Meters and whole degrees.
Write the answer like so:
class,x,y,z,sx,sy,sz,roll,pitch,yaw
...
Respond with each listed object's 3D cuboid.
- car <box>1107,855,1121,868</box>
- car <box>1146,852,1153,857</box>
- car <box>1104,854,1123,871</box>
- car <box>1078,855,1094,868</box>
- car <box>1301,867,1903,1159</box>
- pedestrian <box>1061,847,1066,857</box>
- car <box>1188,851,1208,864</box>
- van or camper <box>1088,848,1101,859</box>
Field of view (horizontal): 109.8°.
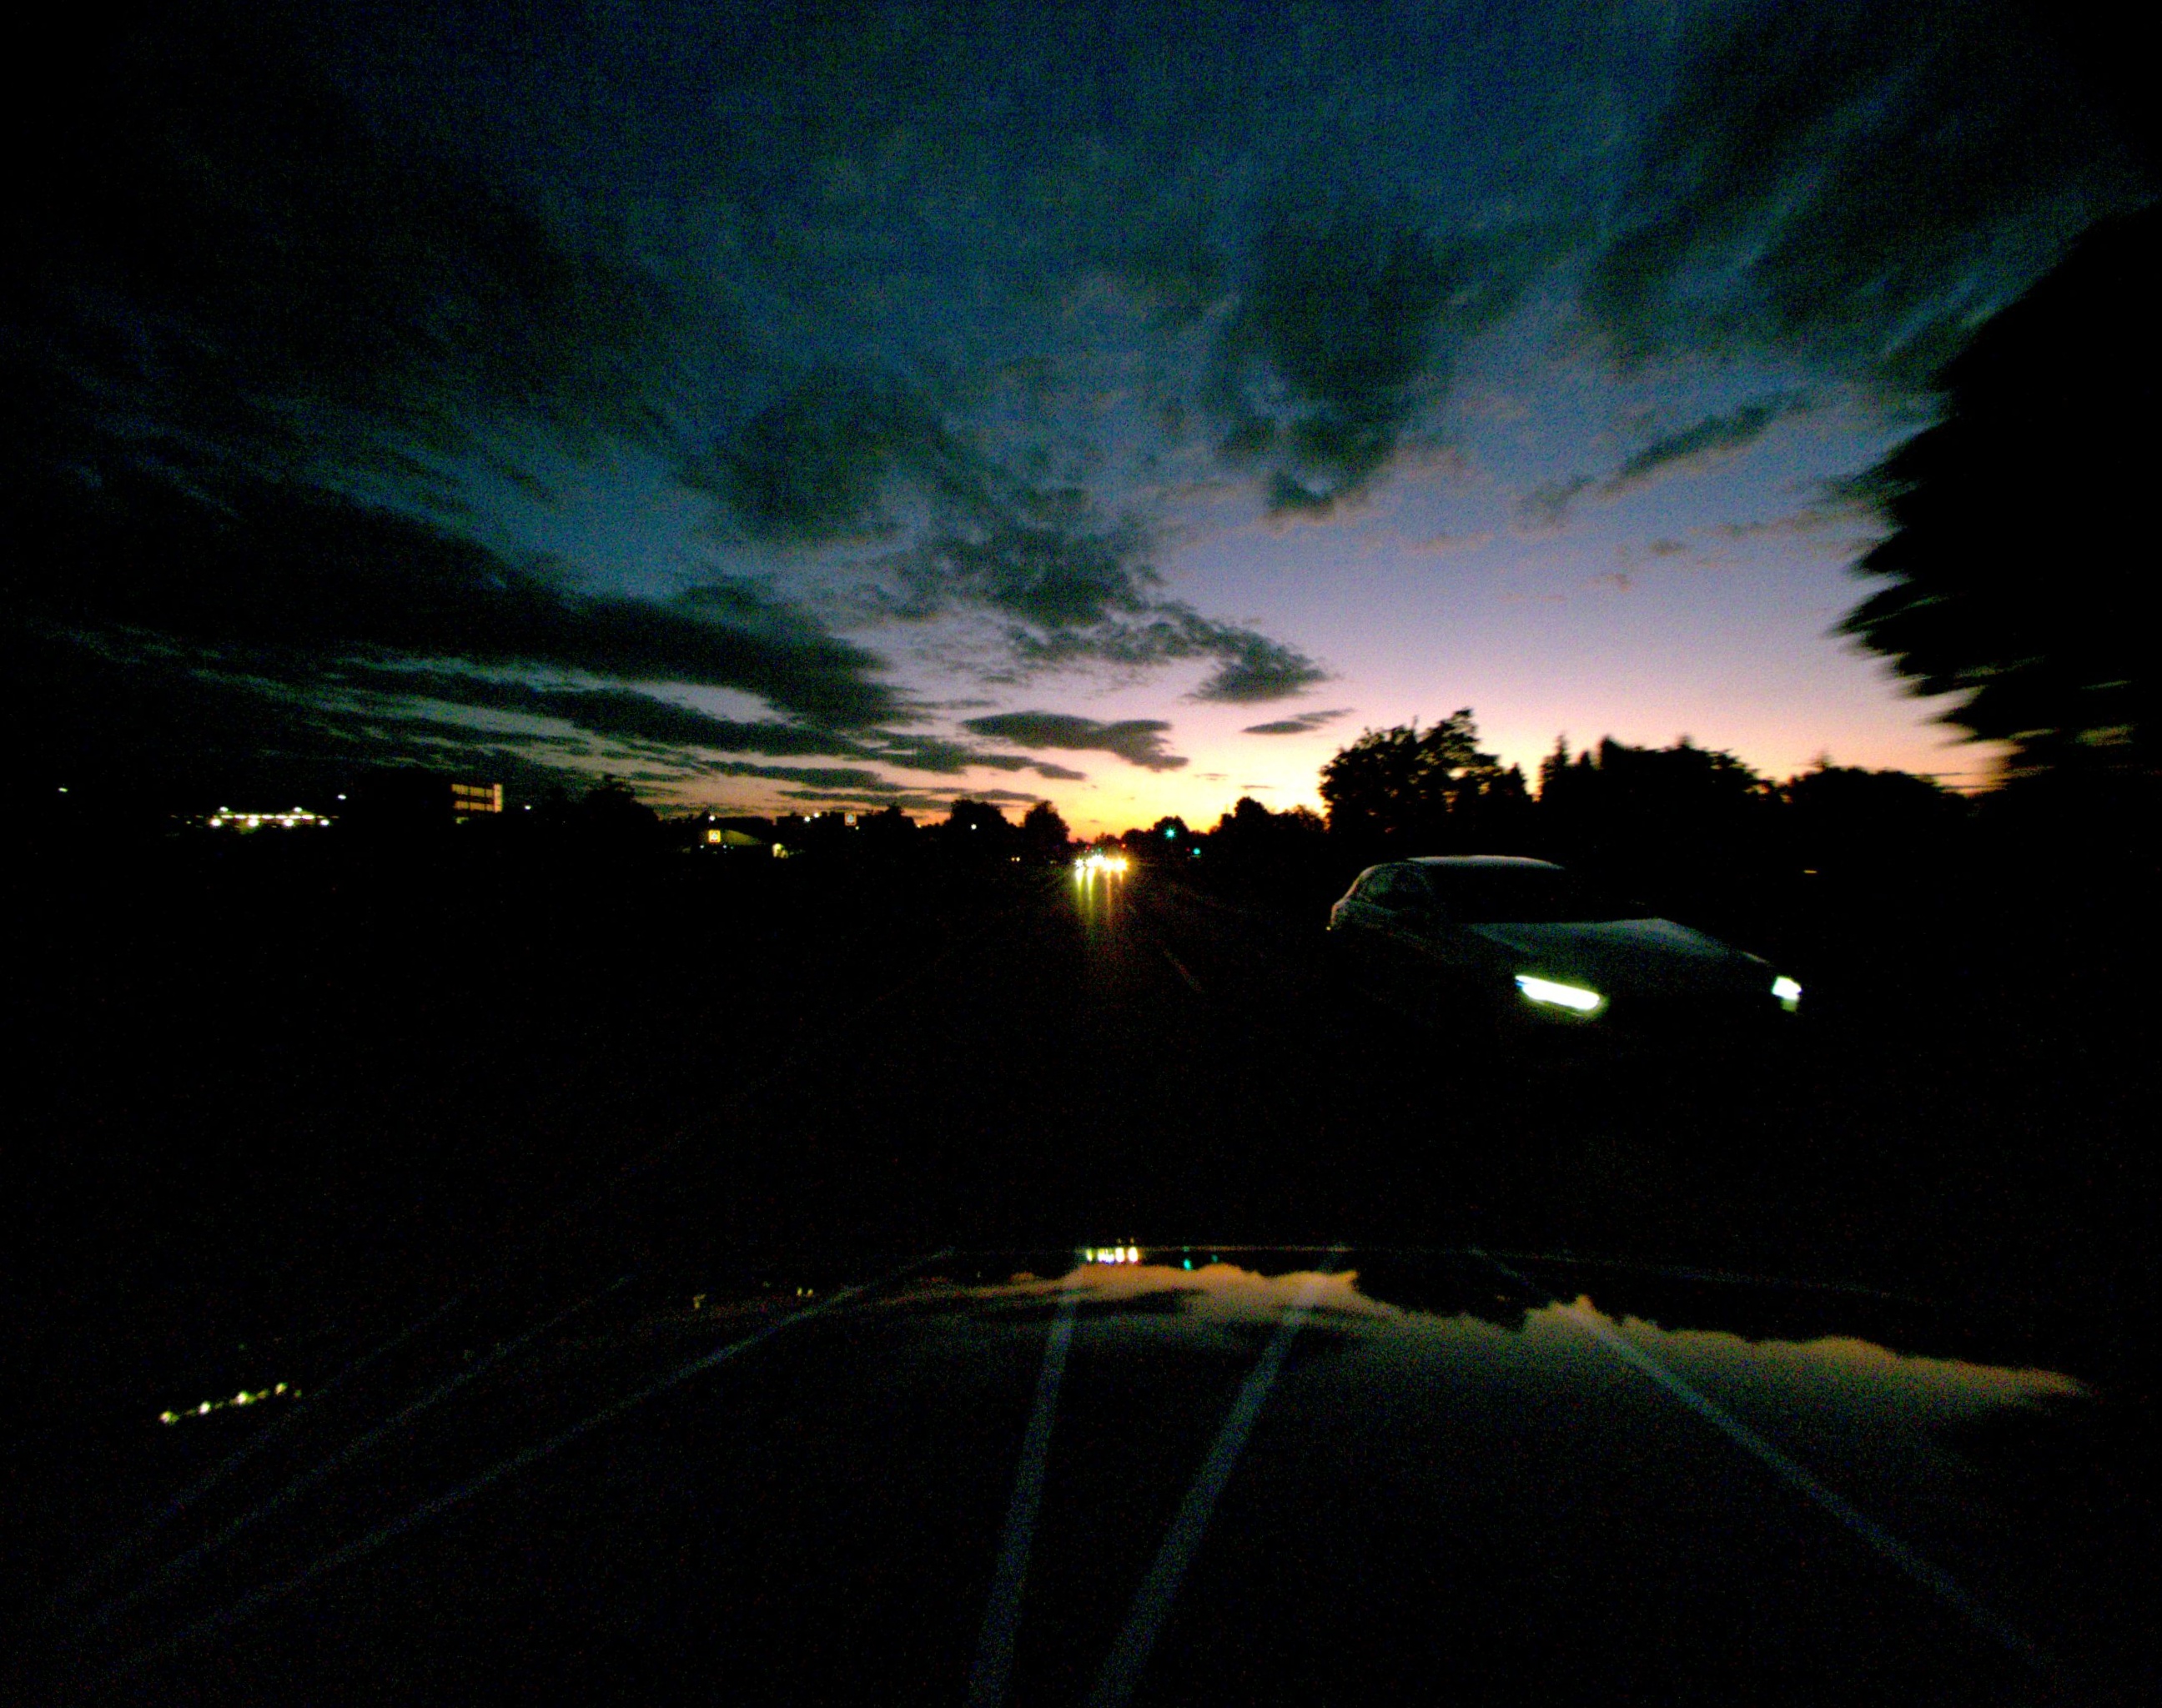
class,x,y,z,sx,sy,sz,roll,pitch,yaw
car,4.547,1.101,104.598,1.760,1.692,4.250,-2,-1,1
car,18.727,0.097,207.524,1.656,1.376,4.029,-2,1,0
car,3.029,0.798,70.720,1.663,1.528,3.715,-2,-1,1
car,0.644,0.987,99.897,1.902,1.547,4.301,-3,-1,1
car,3.378,0.873,6.282,1.819,1.427,4.647,-3,-1,2
pedestrian,-3.741,-0.407,159.837,0.782,2.002,0.712,-3,1,-38
car,13.635,0.390,88.913,1.659,1.496,4.000,-2,0,0
van or camper,3.967,-0.130,225.176,3.949,3.106,9.942,0,0,1
